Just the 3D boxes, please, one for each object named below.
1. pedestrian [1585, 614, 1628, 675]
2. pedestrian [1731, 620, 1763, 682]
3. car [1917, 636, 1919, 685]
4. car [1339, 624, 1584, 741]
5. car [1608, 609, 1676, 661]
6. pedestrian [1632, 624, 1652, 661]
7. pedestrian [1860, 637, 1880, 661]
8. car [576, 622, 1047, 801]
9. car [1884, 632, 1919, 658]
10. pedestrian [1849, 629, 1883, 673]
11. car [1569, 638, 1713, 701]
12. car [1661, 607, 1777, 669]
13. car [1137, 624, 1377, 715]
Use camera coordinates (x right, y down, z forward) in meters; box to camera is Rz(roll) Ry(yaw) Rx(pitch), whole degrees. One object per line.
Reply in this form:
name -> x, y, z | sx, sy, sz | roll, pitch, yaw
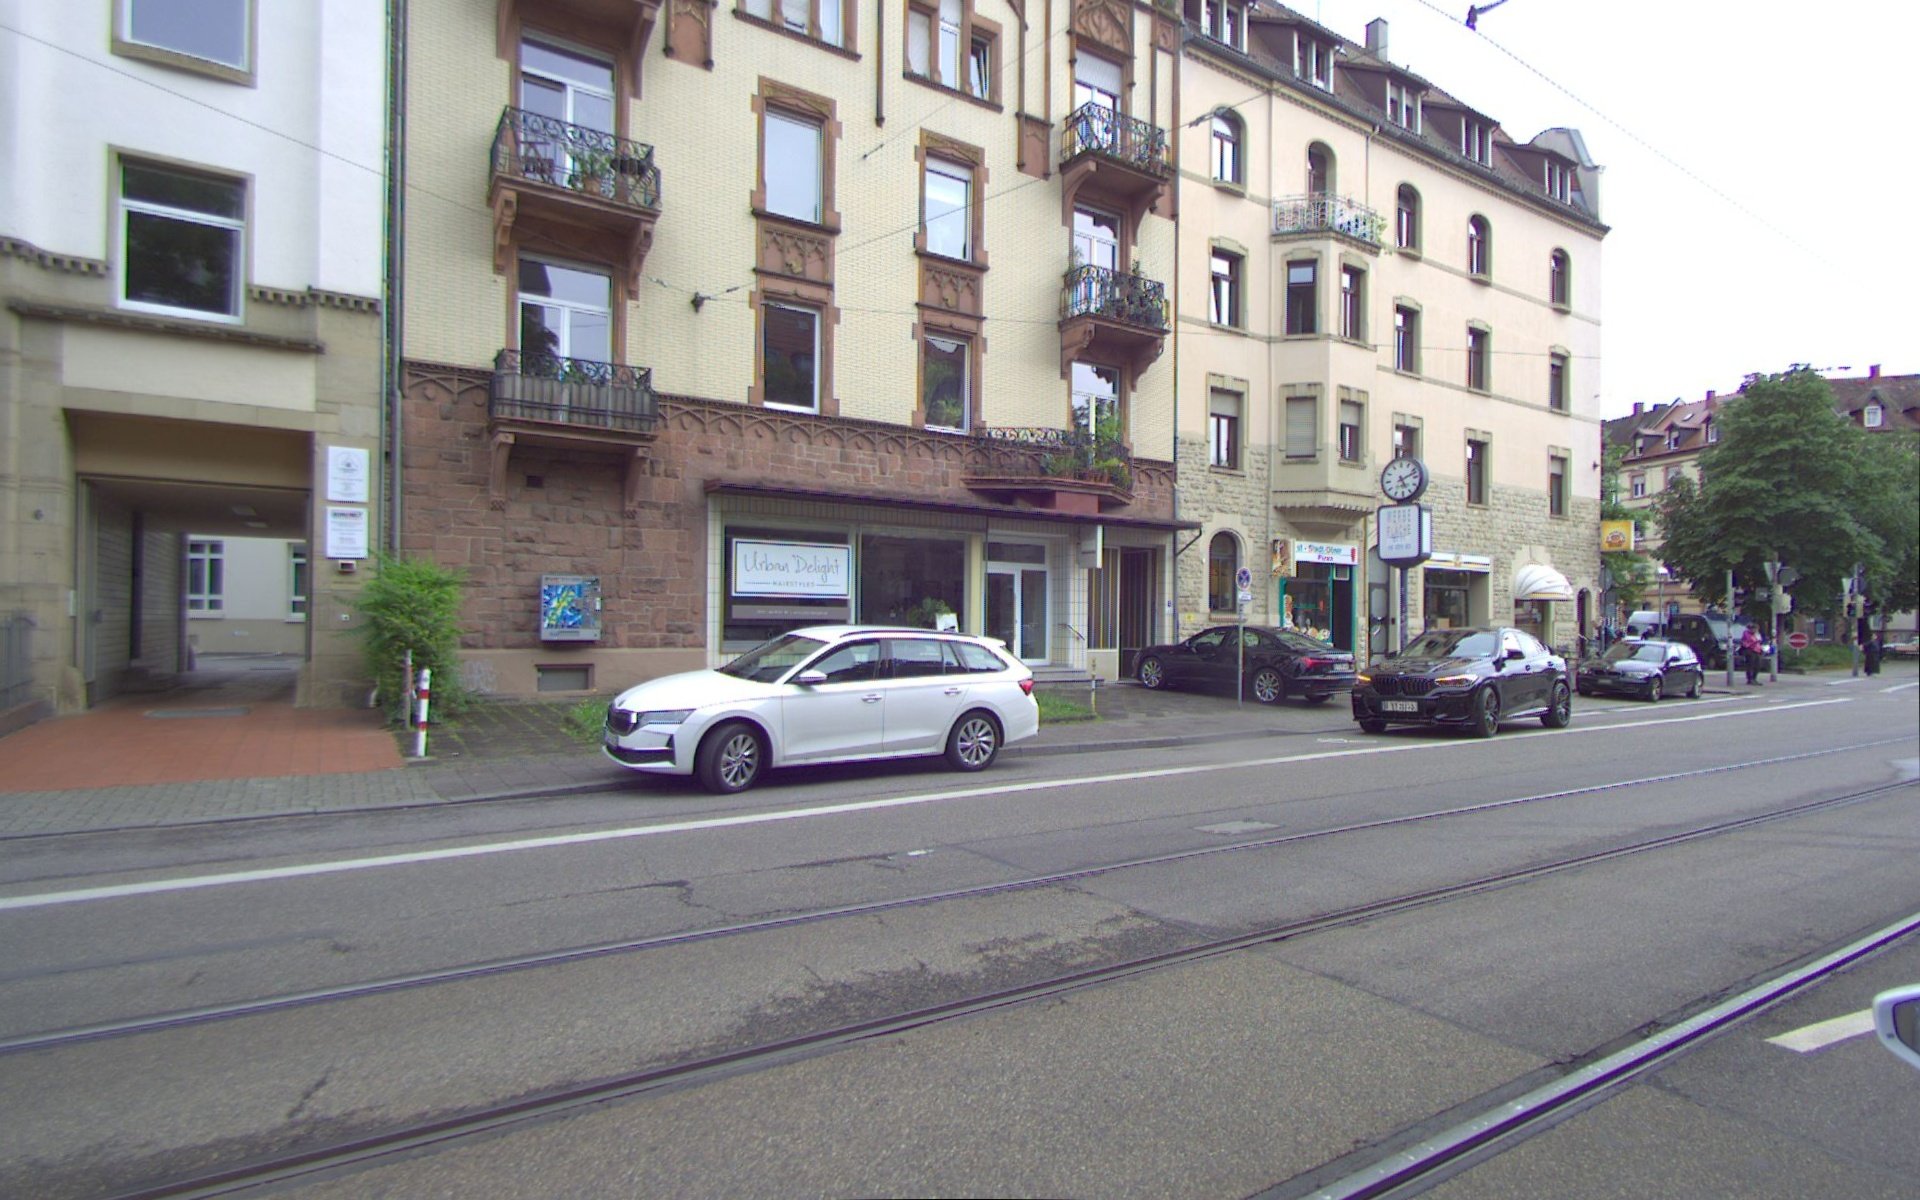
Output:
pedestrian -> 22.037, 1.501, 34.242 | 0.826, 2.040, 0.968 | 1, -2, -32
pedestrian -> 24.091, 1.540, 30.740 | 0.604, 1.867, 0.619 | 1, -1, -35
car -> 30.085, 1.792, 29.929 | 3.964, 1.429, 1.677 | 2, -3, -38
car -> 8.313, 1.279, 16.436 | 4.850, 1.632, 1.867 | 2, -4, -41
car -> 35.752, 1.801, 52.771 | 2.145, 2.560, 5.376 | 0, -1, 26
pedestrian -> 33.175, 2.065, 48.840 | 0.686, 1.738, 0.552 | 0, -1, 18
pedestrian -> 46.020, 2.492, 50.793 | 0.579, 1.184, 0.844 | 0, -1, 29
car -> -1.415, 1.001, 10.439 | 4.561, 1.504, 1.737 | 1, -2, -34
car -> 61.892, 2.887, 64.188 | 3.786, 1.644, 1.727 | 0, -1, 18
pedestrian -> 34.623, 1.939, 38.371 | 0.584, 1.685, 0.832 | 1, -1, -30
car -> 17.285, 1.713, 25.448 | 4.088, 1.380, 1.638 | 2, 1, -35
car -> 32.560, 1.598, 43.331 | 2.142, 2.449, 5.383 | 0, -1, 15
car -> 5.856, 1.301, 20.283 | 1.863, 1.388, 4.393 | 1, 1, -36
